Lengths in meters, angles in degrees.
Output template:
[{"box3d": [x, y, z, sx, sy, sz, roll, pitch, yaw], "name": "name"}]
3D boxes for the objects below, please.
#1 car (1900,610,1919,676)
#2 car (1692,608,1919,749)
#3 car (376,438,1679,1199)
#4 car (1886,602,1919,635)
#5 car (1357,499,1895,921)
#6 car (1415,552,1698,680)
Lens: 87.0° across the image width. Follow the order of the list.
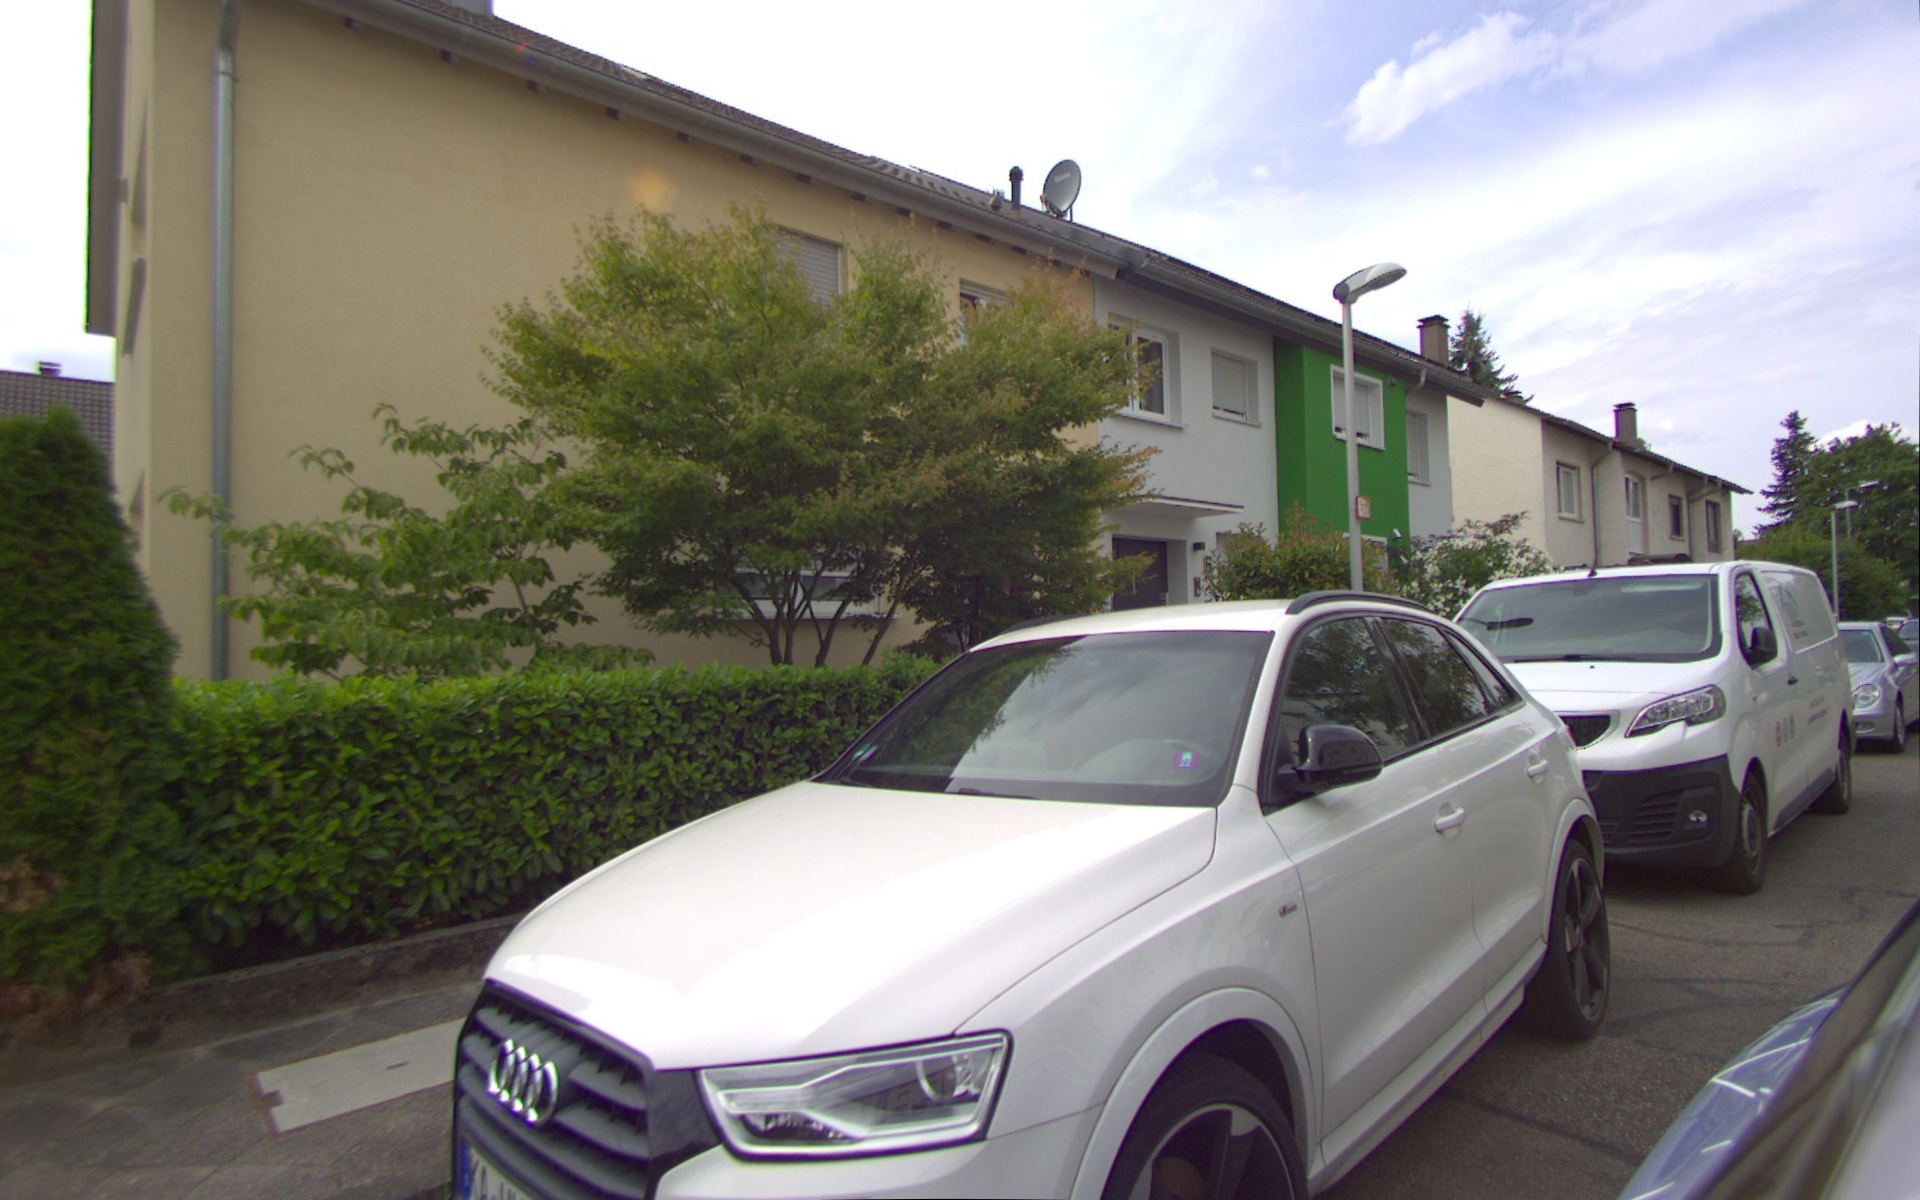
[{"box3d": [23.491, 0.953, 23.712, 4.120, 1.477, 1.830, 0, -4, -44], "name": "car"}, {"box3d": [10.807, 0.857, 12.494, 4.376, 1.439, 1.786, 0, -4, -40], "name": "car"}, {"box3d": [0.690, 0.706, 3.204, 4.094, 1.657, 1.825, 0, -4, -45], "name": "car"}, {"box3d": [47.532, 0.882, 50.512, 3.935, 1.485, 1.701, -2, -1, -44], "name": "car"}, {"box3d": [5.030, 0.573, 7.249, 5.164, 1.990, 1.905, 0, -4, -42], "name": "car"}, {"box3d": [13.408, 0.361, 23.055, 2.198, 2.575, 5.096, 1, -1, -40], "name": "car"}]
